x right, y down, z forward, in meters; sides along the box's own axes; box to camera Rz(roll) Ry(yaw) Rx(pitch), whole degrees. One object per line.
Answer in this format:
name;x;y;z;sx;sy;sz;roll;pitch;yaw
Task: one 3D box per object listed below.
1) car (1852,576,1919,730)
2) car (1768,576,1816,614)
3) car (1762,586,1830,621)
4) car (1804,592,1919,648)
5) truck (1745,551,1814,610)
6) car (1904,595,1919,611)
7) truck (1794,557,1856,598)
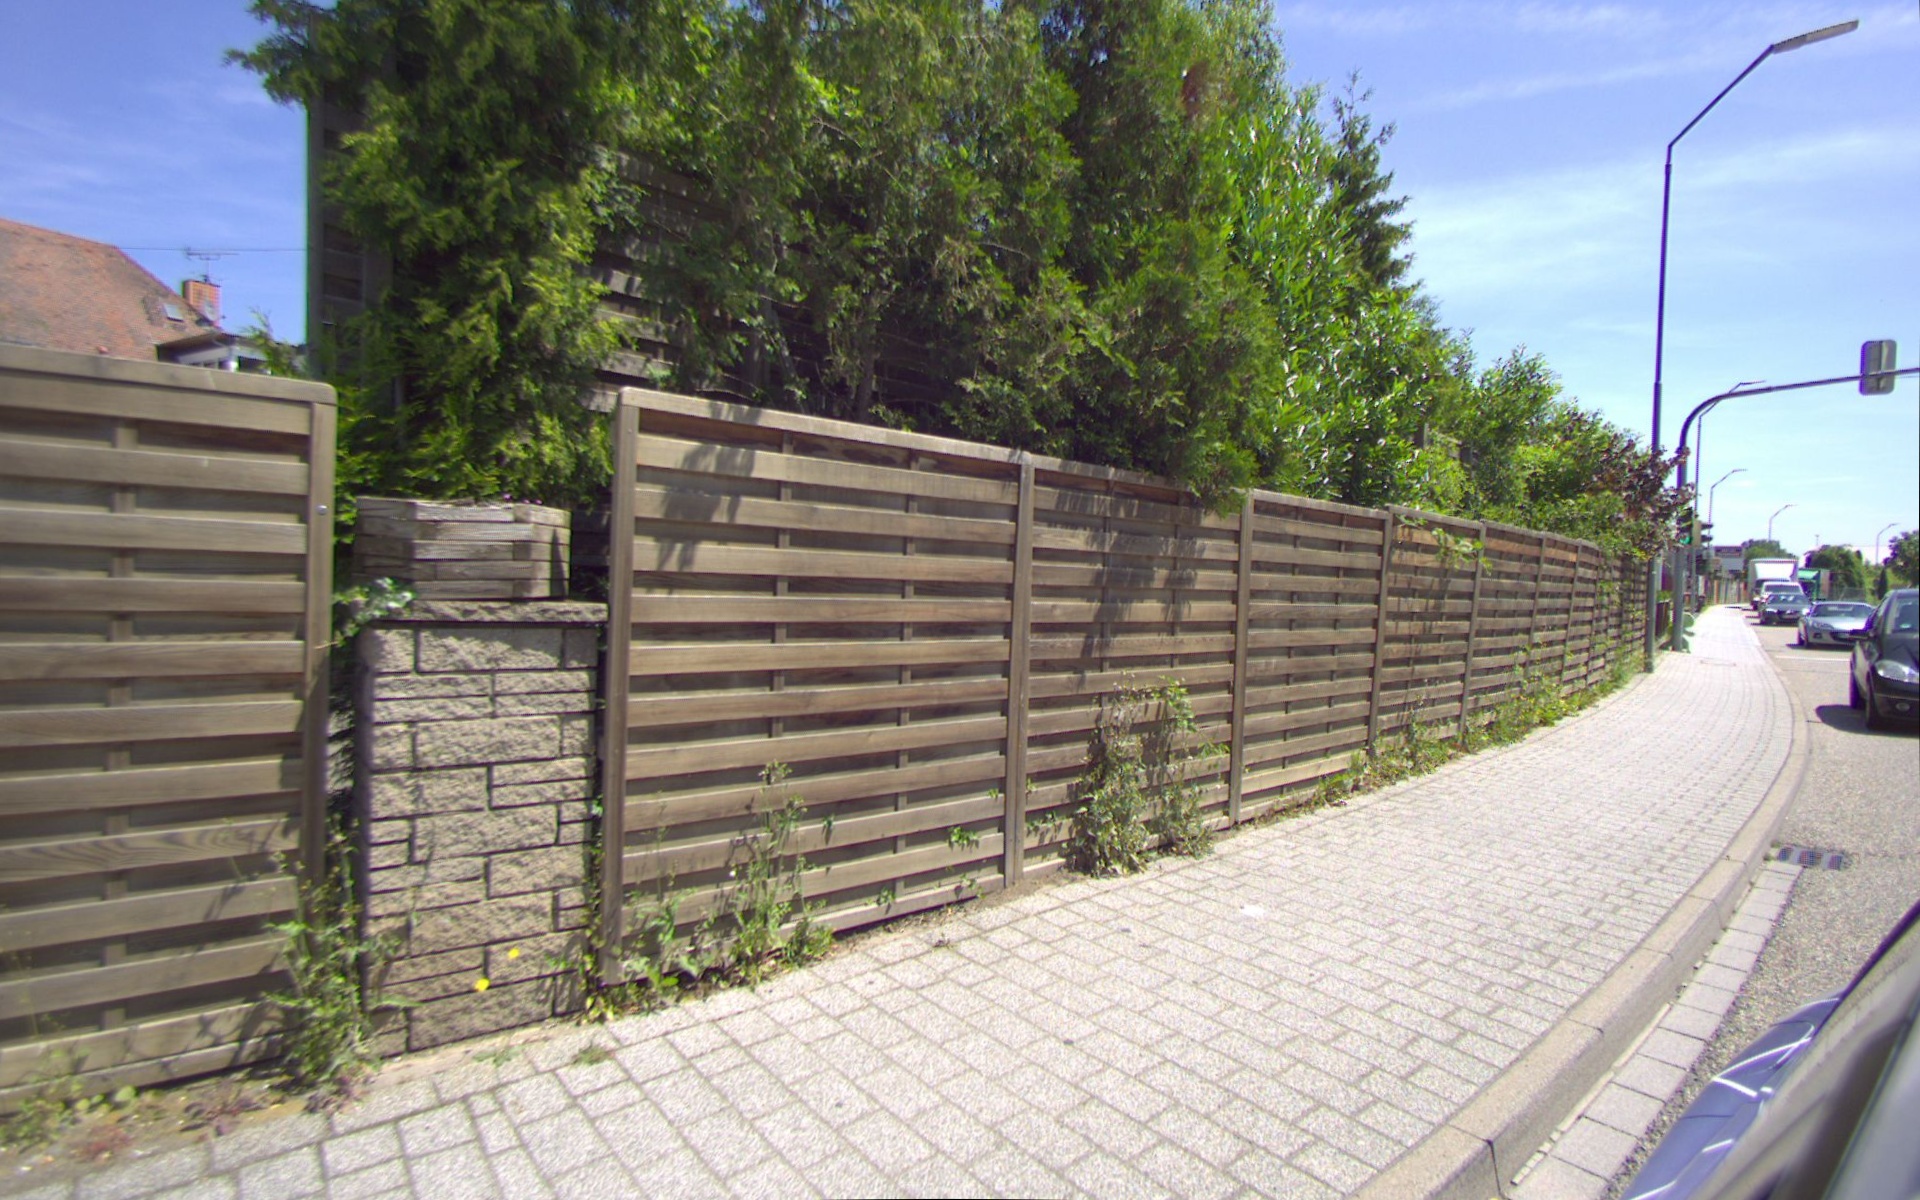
car;11.762;0.539;11.830;1.756;1.612;4.140;0;1;38
car;43.526;-0.270;52.945;1.860;1.932;4.963;0;0;40
car;35.727;0.142;43.322;1.886;1.393;3.950;1;1;35
car;23.703;0.484;26.701;1.803;1.331;3.950;1;1;35
truck;55.698;-1.311;68.793;3.192;3.642;8.188;6;4;39
car;94.545;0.316;99.968;1.821;1.544;3.503;1;1;42
truck;75.524;-1.949;88.497;2.836;3.271;8.068;5;4;33
